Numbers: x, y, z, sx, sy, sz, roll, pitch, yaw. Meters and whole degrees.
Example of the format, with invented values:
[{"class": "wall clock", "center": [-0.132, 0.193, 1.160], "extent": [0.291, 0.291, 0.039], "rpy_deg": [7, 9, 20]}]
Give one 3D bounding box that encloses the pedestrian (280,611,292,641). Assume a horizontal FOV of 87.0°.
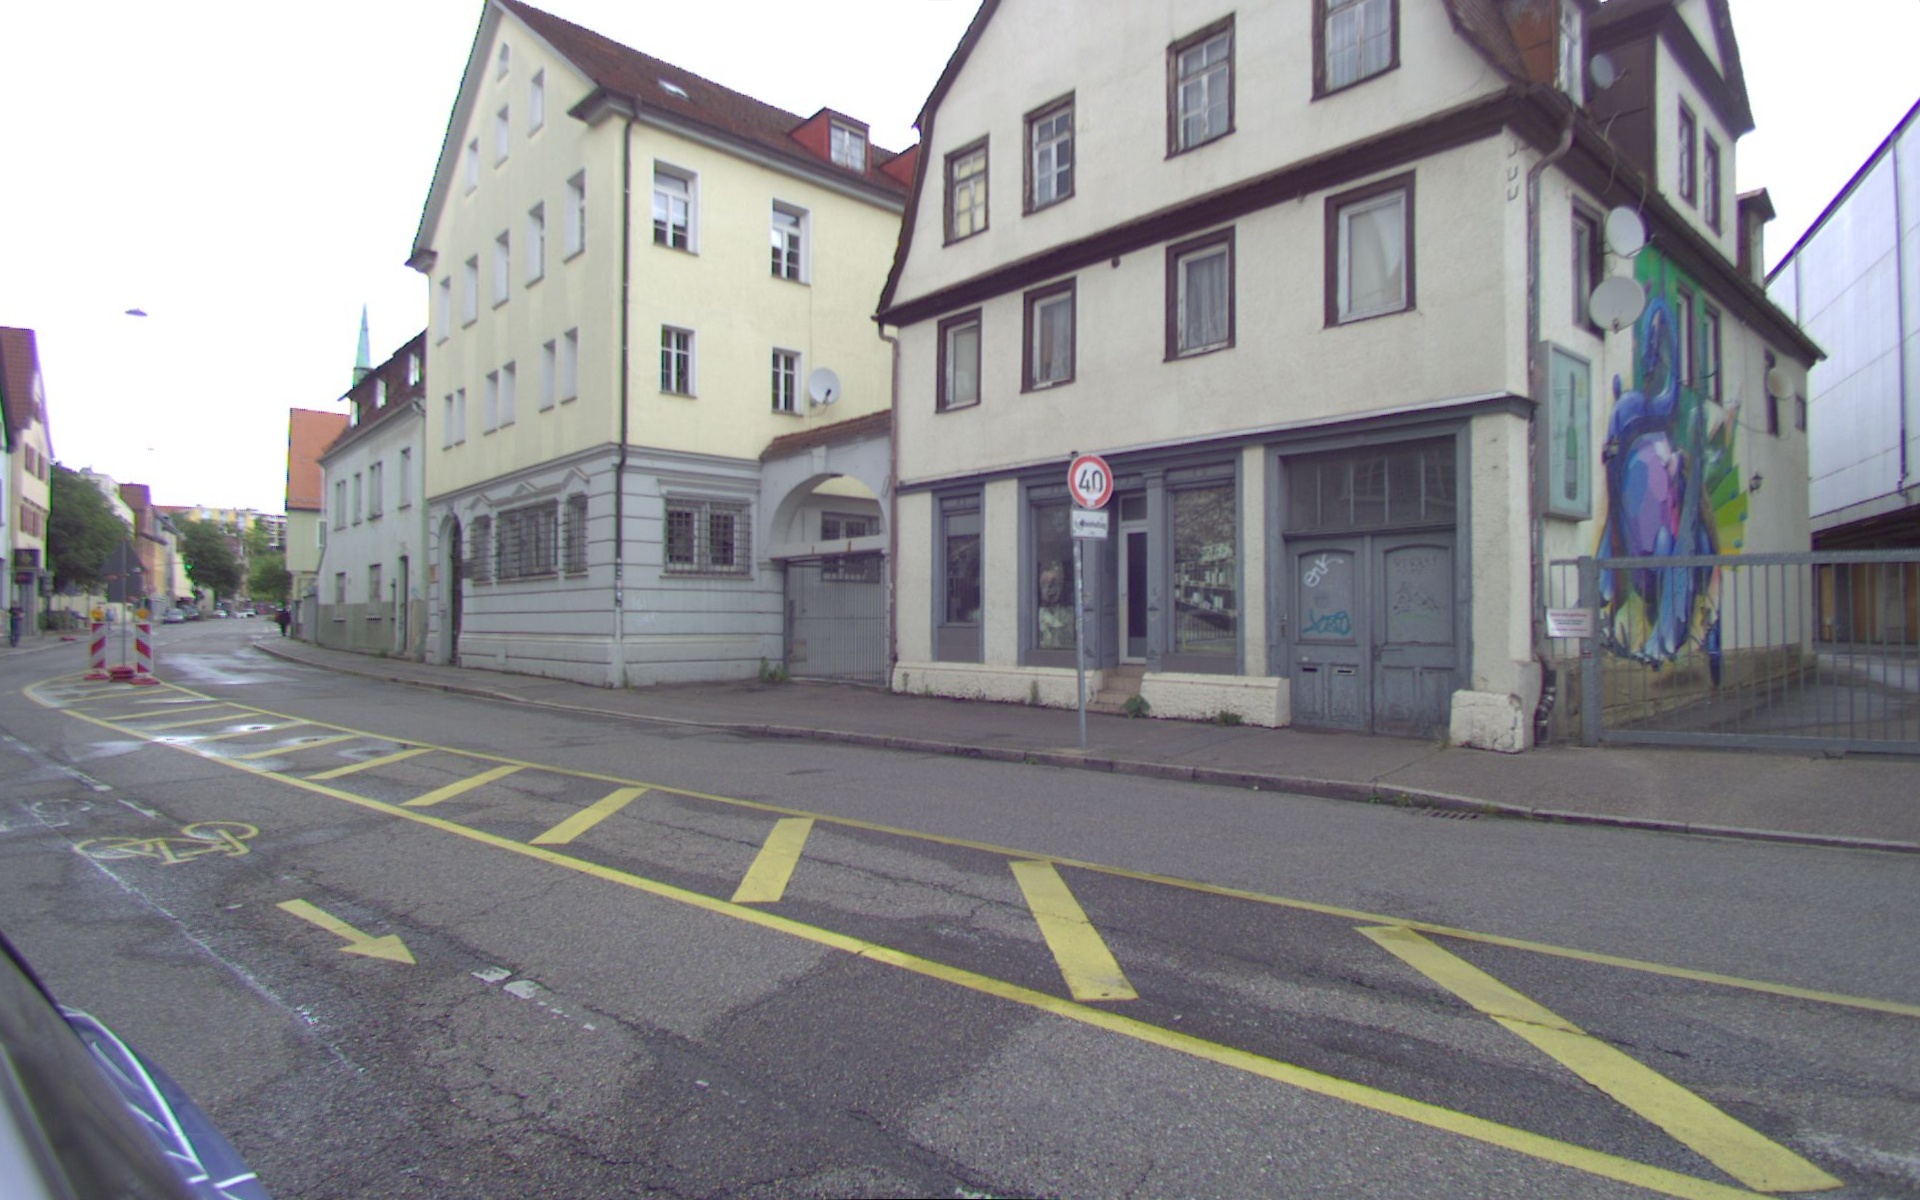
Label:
[{"class": "pedestrian", "center": [-40.537, 1.580, 60.891], "extent": [0.583, 1.793, 0.506], "rpy_deg": [1, -2, -33]}]
